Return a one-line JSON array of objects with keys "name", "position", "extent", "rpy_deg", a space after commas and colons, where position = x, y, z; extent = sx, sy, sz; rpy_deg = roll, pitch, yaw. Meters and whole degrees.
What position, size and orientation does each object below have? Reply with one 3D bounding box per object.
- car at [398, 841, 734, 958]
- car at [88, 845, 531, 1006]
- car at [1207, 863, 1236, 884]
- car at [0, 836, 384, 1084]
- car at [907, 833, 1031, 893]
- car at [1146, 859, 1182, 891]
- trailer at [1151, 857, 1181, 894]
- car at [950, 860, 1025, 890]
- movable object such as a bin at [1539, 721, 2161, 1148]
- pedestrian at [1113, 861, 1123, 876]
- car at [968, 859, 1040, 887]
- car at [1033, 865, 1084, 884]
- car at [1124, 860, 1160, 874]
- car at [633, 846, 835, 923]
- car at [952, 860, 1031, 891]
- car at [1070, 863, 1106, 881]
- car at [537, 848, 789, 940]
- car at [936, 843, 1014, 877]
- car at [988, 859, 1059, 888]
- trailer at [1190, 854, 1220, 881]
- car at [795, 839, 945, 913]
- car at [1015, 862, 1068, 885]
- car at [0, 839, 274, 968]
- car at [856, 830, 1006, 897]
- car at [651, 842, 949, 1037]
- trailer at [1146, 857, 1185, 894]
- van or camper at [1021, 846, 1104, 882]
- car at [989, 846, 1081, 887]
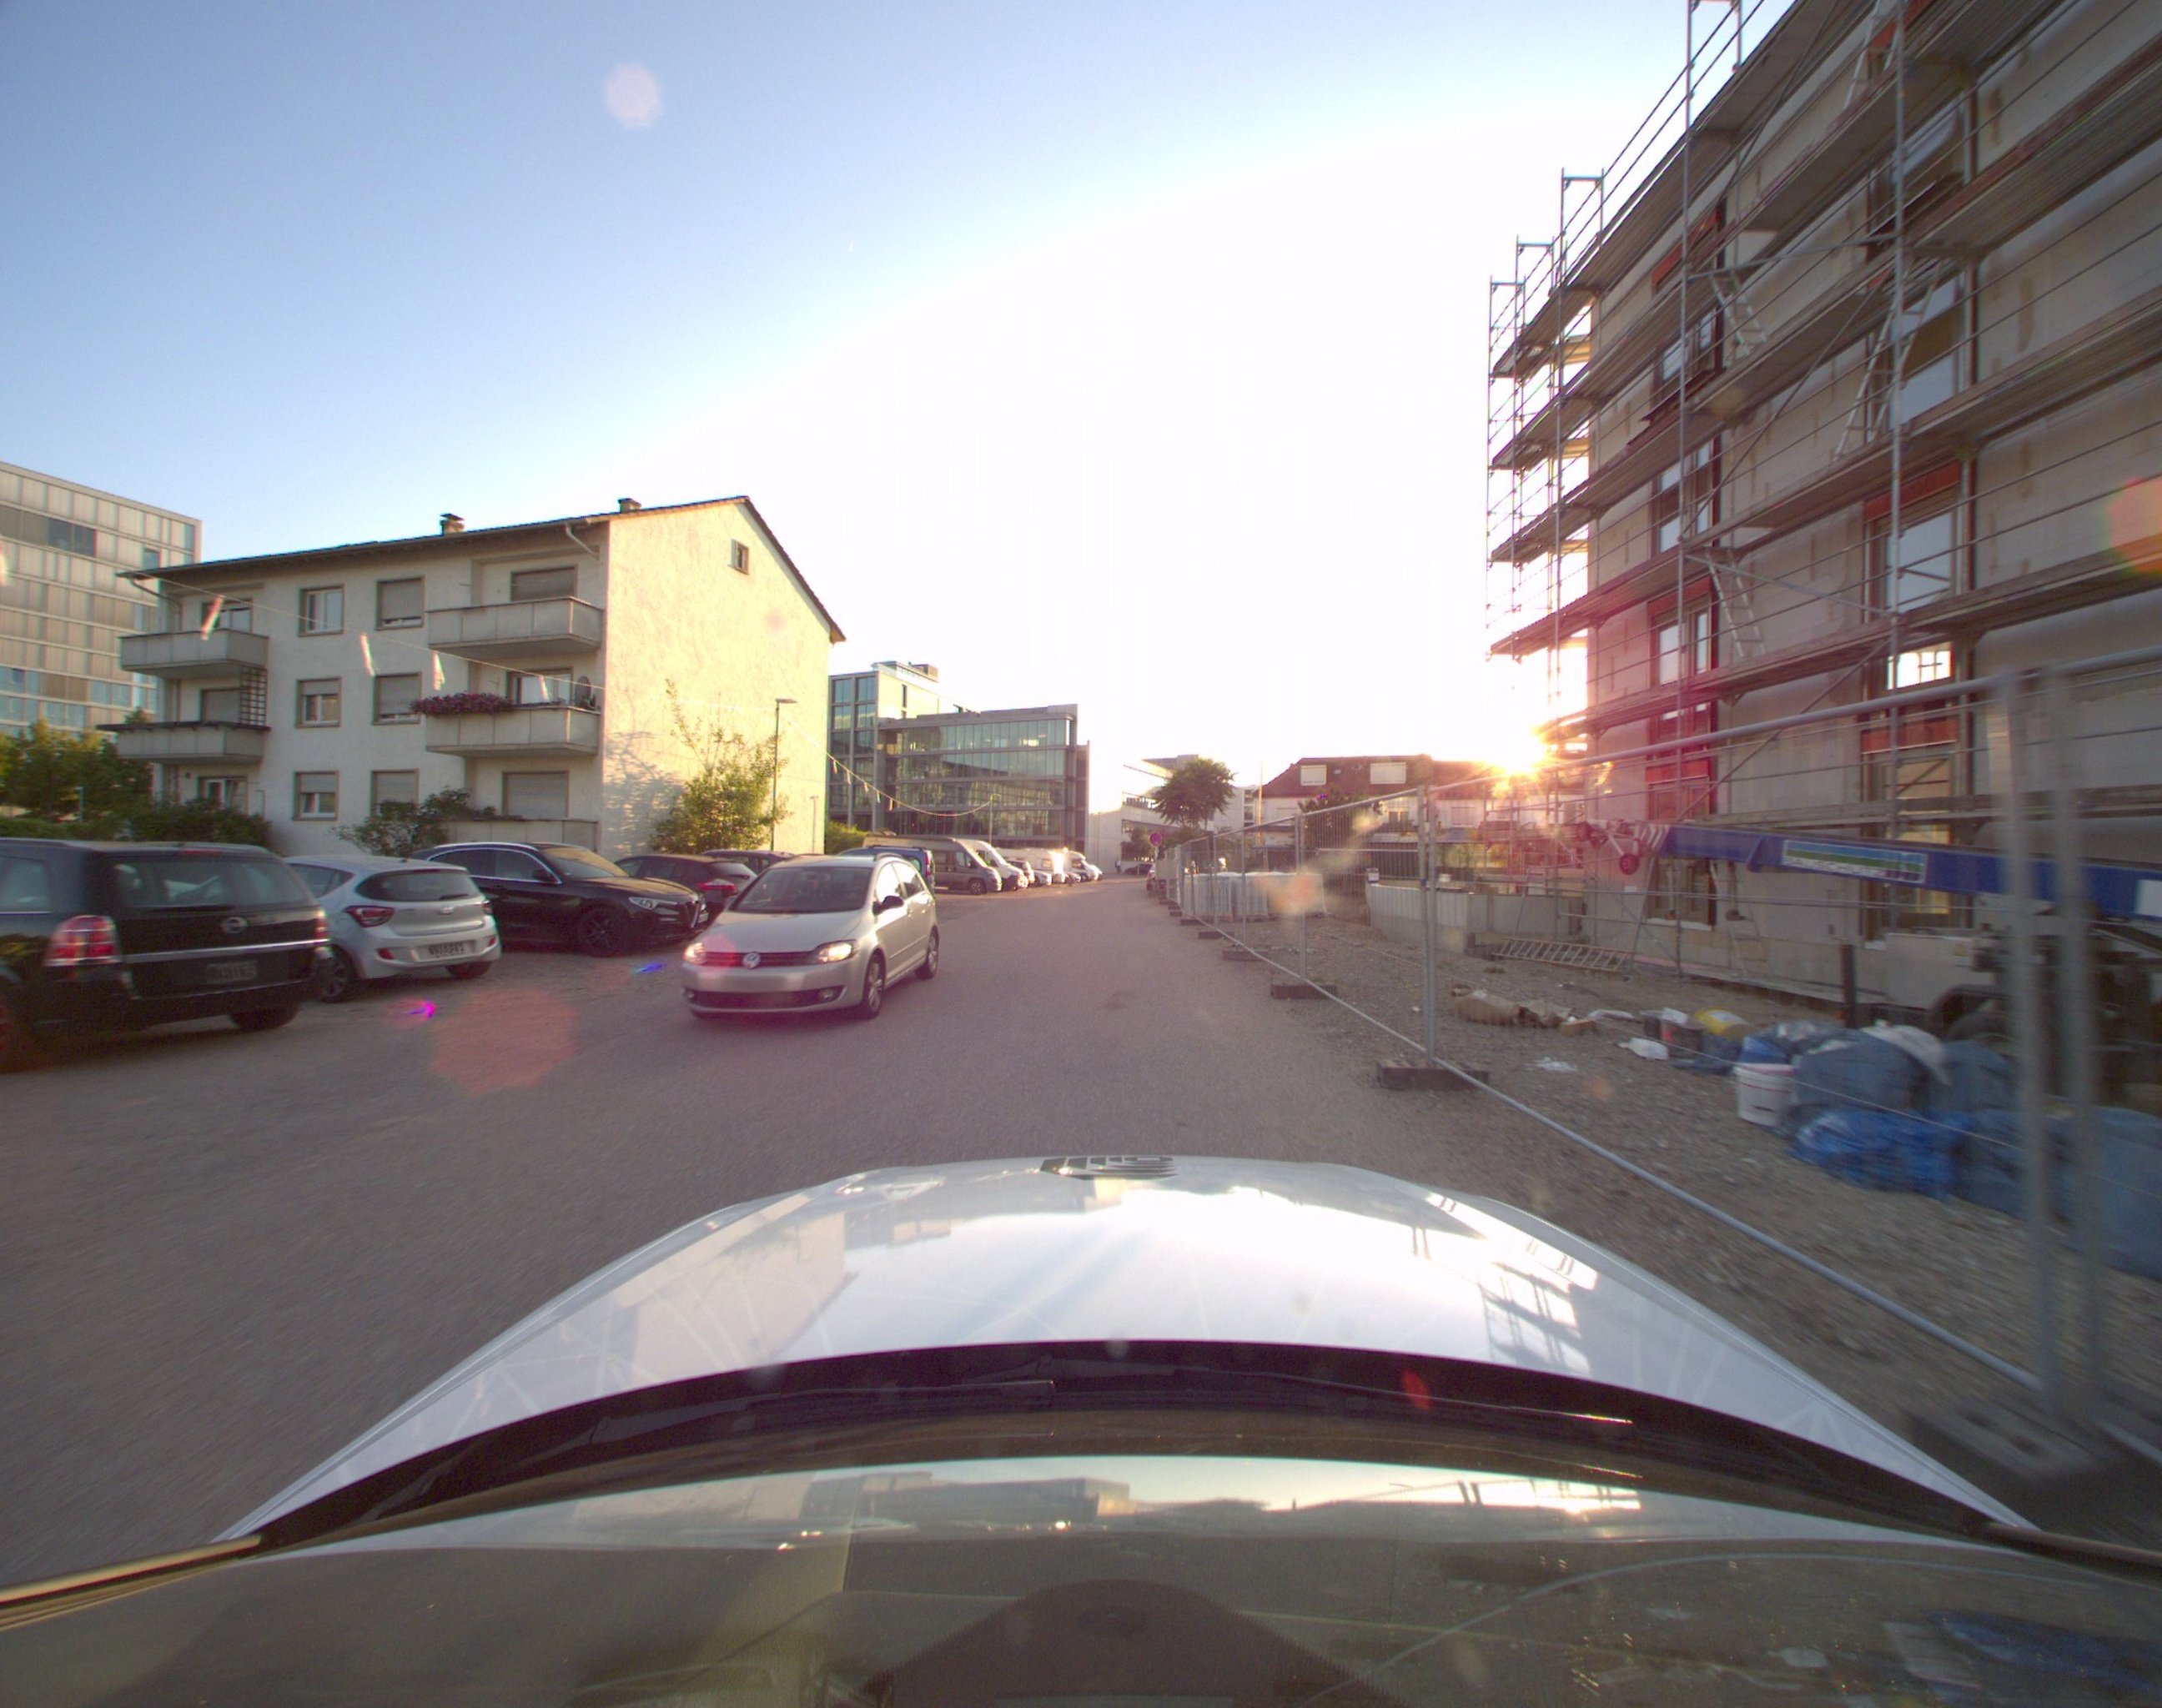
[{"name": "car", "position": [-7.817, 0.632, 12.615], "extent": [4.070, 1.628, 1.823], "rpy_deg": [1, 0, 4]}, {"name": "car", "position": [-8.973, 0.725, 9.618], "extent": [3.900, 1.521, 1.814], "rpy_deg": [2, 1, 11]}, {"name": "car", "position": [14.523, 2.025, 84.196], "extent": [2.048, 2.095, 4.896], "rpy_deg": [0, -1, 20]}, {"name": "car", "position": [-8.337, 0.682, 6.647], "extent": [4.010, 1.620, 1.855], "rpy_deg": [1, -1, 11]}, {"name": "car", "position": [-5.684, 0.462, 41.759], "extent": [5.798, 2.713, 2.053], "rpy_deg": [3, 0, 5]}, {"name": "car", "position": [4.911, 1.188, 47.733], "extent": [1.795, 1.725, 4.940], "rpy_deg": [-1, -1, 9]}, {"name": "trailer", "position": [3.985, 0.977, 38.228], "extent": [1.245, 1.665, 2.805], "rpy_deg": [-1, -1, 3]}, {"name": "car", "position": [-5.367, 1.214, 47.100], "extent": [3.904, 1.591, 1.751], "rpy_deg": [1, -2, 7]}, {"name": "movable object such as a bin", "position": [6.910, 0.444, 6.645], "extent": [2.056, 2.274, 8.374], "rpy_deg": [0, 0, 3]}, {"name": "pedestrian", "position": [4.334, 1.695, 95.767], "extent": [0.906, 1.850, 0.847], "rpy_deg": [0, 0, -35]}, {"name": "car", "position": [-4.650, 1.132, 49.383], "extent": [3.896, 1.591, 1.755], "rpy_deg": [1, -1, 15]}, {"name": "car", "position": [-1.789, 1.654, 65.395], "extent": [3.784, 1.328, 1.698], "rpy_deg": [2, 0, 10]}, {"name": "car", "position": [7.052, 1.507, 93.753], "extent": [3.705, 1.482, 1.778], "rpy_deg": [2, 1, 18]}, {"name": "car", "position": [-7.792, 0.646, 18.407], "extent": [3.900, 1.580, 1.648], "rpy_deg": [1, 0, 11]}, {"name": "car", "position": [-4.822, 1.152, 44.076], "extent": [3.904, 1.507, 1.793], "rpy_deg": [1, -1, 7]}, {"name": "car", "position": [0.707, 1.661, 74.070], "extent": [1.672, 1.519, 4.384], "rpy_deg": [2, -1, 23]}, {"name": "car", "position": [-7.704, 0.711, 15.150], "extent": [3.900, 1.517, 1.648], "rpy_deg": [1, -2, 11]}, {"name": "car", "position": [-9.151, 0.498, 70.203], "extent": [6.193, 2.673, 2.233], "rpy_deg": [2, 0, 17]}, {"name": "car", "position": [-3.665, 1.238, 51.995], "extent": [4.096, 1.591, 1.755], "rpy_deg": [3, 0, 15]}, {"name": "trailer", "position": [10.453, 1.092, 68.446], "extent": [2.050, 2.211, 5.241], "rpy_deg": [0, -1, 13]}, {"name": "car", "position": [-6.050, 0.620, 23.766], "extent": [3.920, 1.911, 1.745], "rpy_deg": [3, 0, -6]}, {"name": "car", "position": [-2.906, 1.416, 60.422], "extent": [3.607, 1.519, 1.709], "rpy_deg": [2, 0, 8]}, {"name": "car", "position": [-13.538, 0.580, 10.415], "extent": [1.830, 1.523, 4.166], "rpy_deg": [1, -1, 14]}, {"name": "car", "position": [-6.853, 0.449, 37.714], "extent": [6.367, 2.713, 2.112], "rpy_deg": [3, -2, 0]}, {"name": "car", "position": [-2.737, 0.748, 9.067], "extent": [1.664, 1.620, 4.287], "rpy_deg": [1, -1, 2]}, {"name": "trailer", "position": [4.411, 1.078, 41.944], "extent": [1.721, 1.777, 4.949], "rpy_deg": [-1, -1, 9]}, {"name": "van or camper", "position": [-1.590, 0.877, 70.742], "extent": [6.694, 2.898, 2.417], "rpy_deg": [1, -1, 13]}, {"name": "car", "position": [-3.189, 0.865, 56.914], "extent": [5.847, 2.534, 2.420], "rpy_deg": [2, -2, 13]}]
